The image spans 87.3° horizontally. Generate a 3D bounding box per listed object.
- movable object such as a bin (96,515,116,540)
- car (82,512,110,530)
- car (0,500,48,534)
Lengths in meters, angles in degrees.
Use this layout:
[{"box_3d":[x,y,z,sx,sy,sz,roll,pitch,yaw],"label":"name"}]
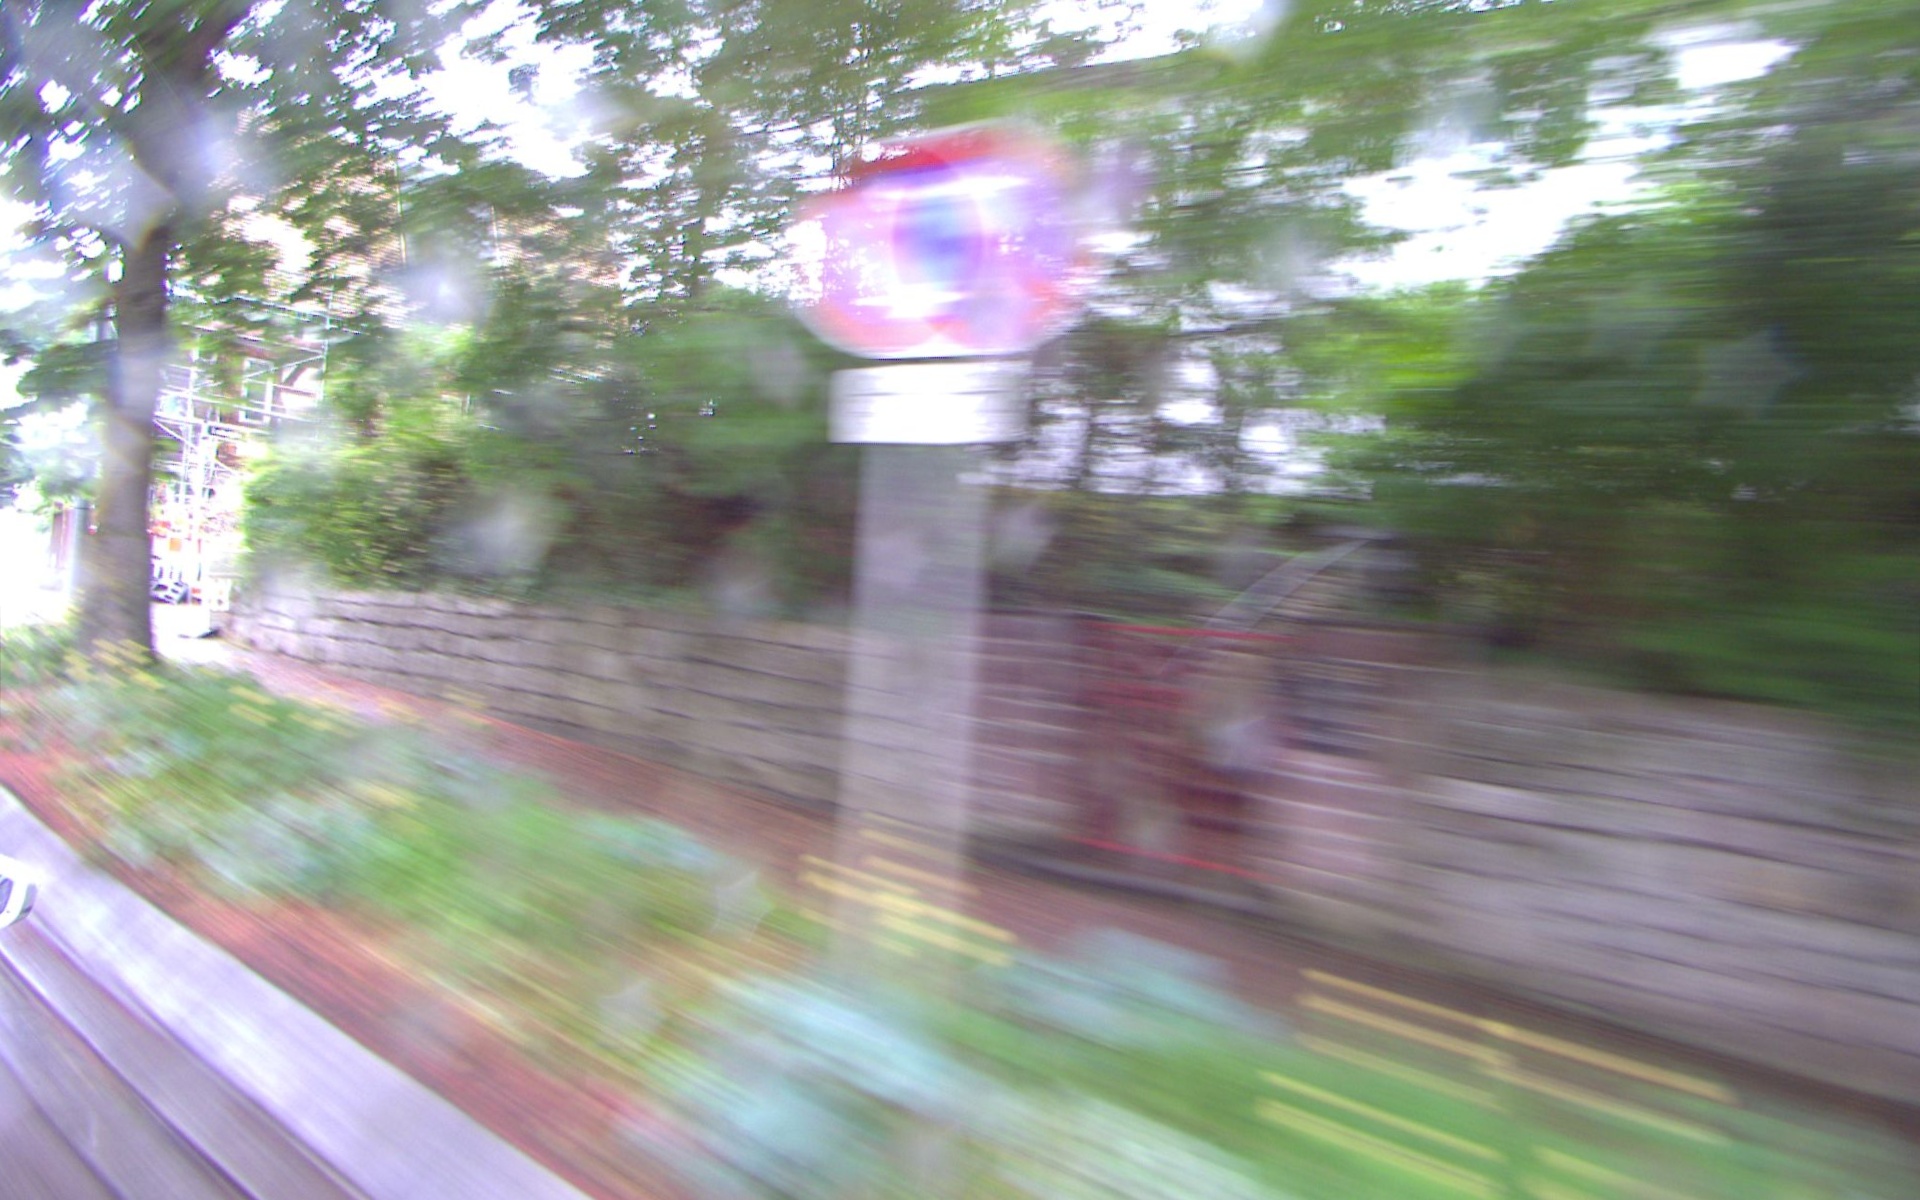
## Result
[{"box_3d":[-46.059,-3.898,54.262,0.721,1.217,0.721,6,1,-40],"label":"movable object such as a bin"},{"box_3d":[-92.618,-8.448,107.822,1.667,1.586,3.539,8,-2,-33],"label":"car"},{"box_3d":[-69.328,-6.105,74.479,1.982,2.037,3.963,8,-2,-35],"label":"car"}]
